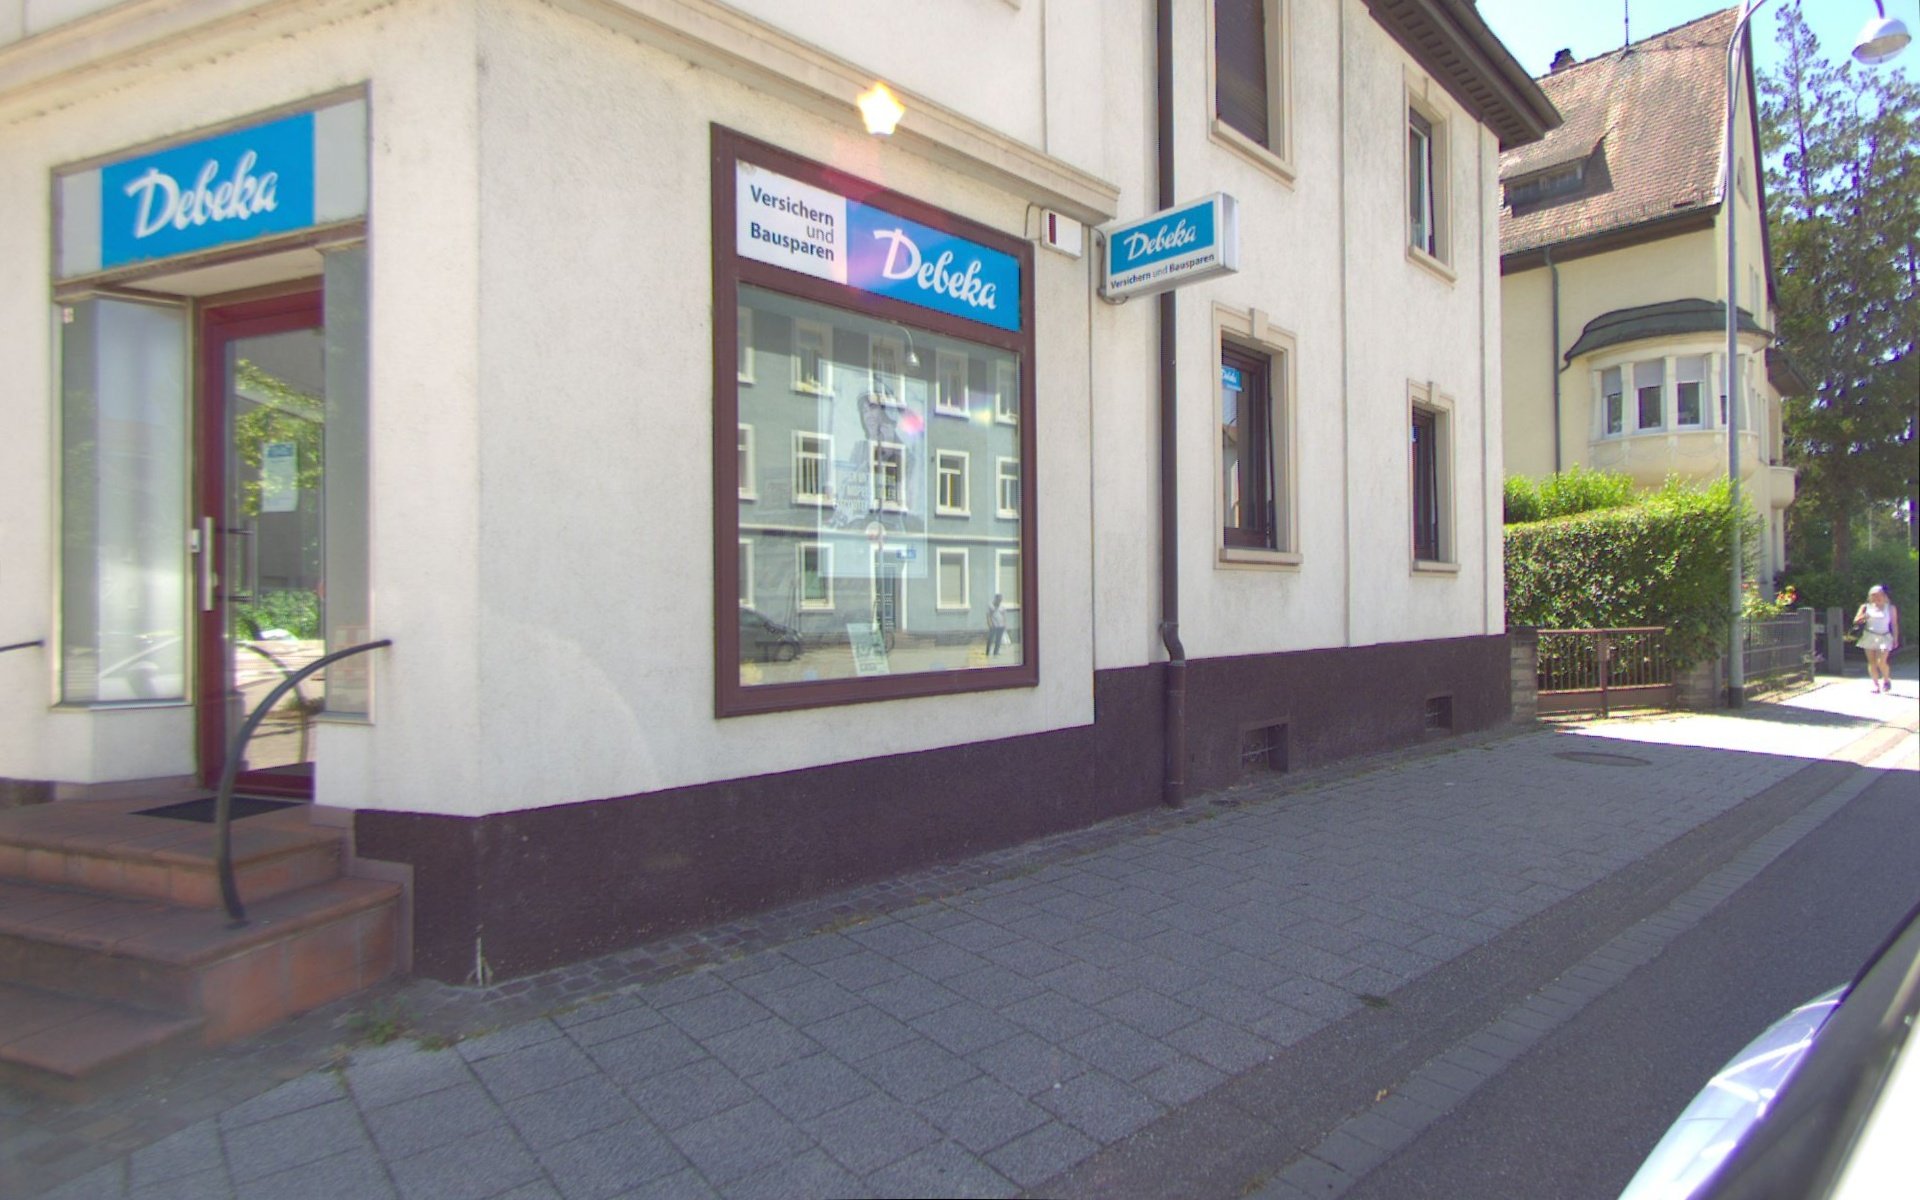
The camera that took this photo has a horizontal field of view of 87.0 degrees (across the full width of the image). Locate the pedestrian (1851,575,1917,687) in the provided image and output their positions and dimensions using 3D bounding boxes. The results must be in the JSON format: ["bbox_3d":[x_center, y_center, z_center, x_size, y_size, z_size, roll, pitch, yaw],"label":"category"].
[{"bbox_3d":[14.363,0.457,15.725,0.759,1.663,0.624,-1,4,-45],"label":"pedestrian"}]
